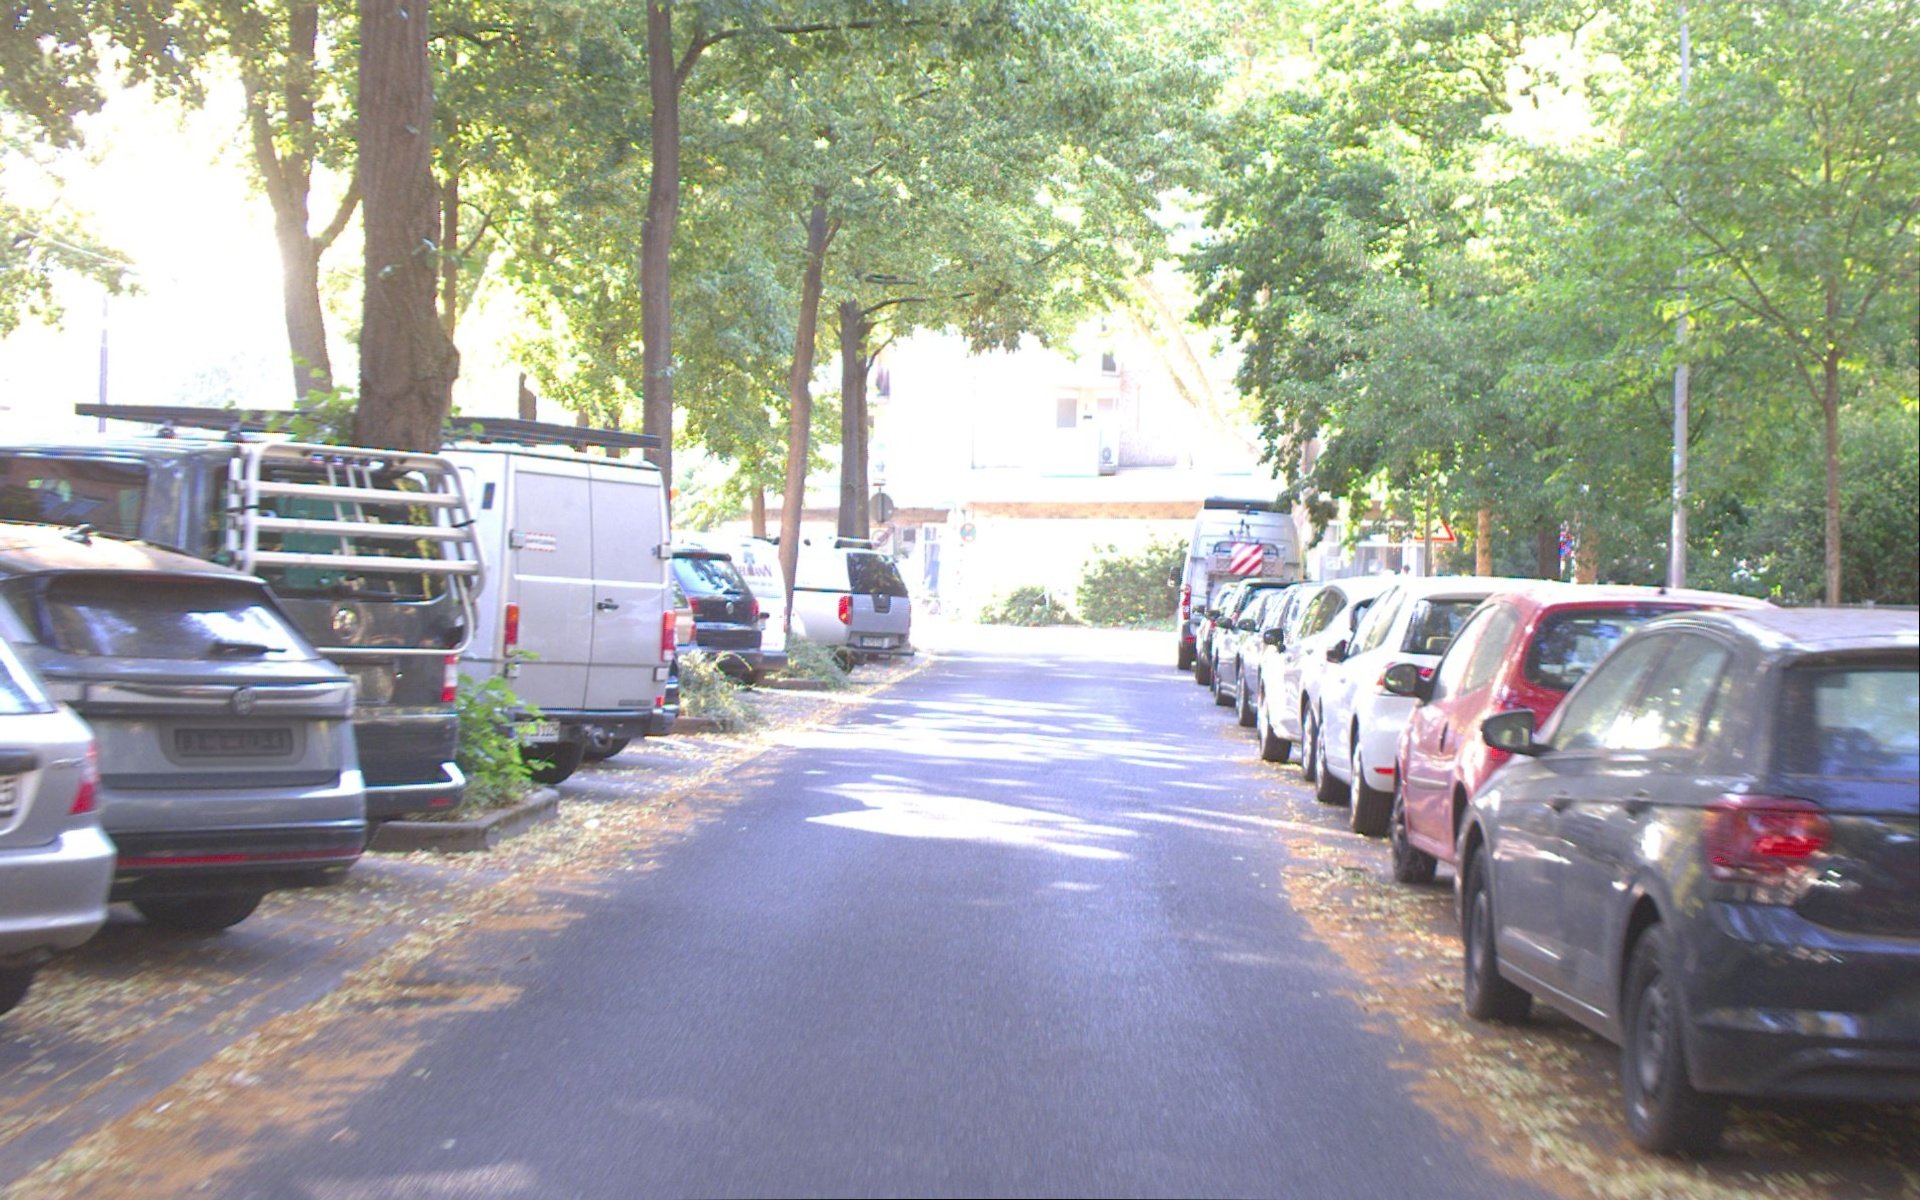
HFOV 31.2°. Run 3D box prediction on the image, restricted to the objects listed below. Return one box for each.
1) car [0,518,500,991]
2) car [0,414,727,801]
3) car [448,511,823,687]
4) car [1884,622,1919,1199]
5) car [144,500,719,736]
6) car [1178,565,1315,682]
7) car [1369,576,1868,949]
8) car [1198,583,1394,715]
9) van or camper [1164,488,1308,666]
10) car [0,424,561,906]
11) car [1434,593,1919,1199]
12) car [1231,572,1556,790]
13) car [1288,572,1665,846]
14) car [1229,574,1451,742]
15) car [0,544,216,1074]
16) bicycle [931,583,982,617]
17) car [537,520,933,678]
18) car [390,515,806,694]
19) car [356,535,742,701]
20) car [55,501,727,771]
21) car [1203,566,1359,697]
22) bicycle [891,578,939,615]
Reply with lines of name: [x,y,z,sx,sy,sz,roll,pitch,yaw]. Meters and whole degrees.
car: [-4.216,0.420,13.507,4.566,1.535,1.931,4,1,34]
car: [-4.455,-0.025,22.620,5.507,2.130,2.077,4,1,31]
car: [-3.877,-0.024,40.741,4.156,1.775,1.879,4,1,38]
car: [2.761,0.810,5.115,1.672,1.449,3.949,1,1,0]
car: [-4.440,0.131,28.667,4.513,1.611,1.850,4,1,31]
car: [3.981,0.291,48.339,1.680,1.520,4.489,1,1,2]
car: [2.851,0.641,15.572,1.591,1.449,3.555,1,1,1]
car: [3.565,0.487,37.074,1.680,1.279,4.287,1,1,0]
van or camper: [4.513,-0.397,57.053,2.084,2.753,5.845,1,1,2]
car: [-4.374,0.175,16.270,4.708,1.936,1.931,4,1,34]
car: [2.519,0.740,10.043,1.672,1.449,3.949,1,1,0]
car: [3.152,0.545,25.750,1.680,1.449,4.076,1,1,-3]
car: [3.009,0.577,20.776,1.680,1.449,4.076,1,1,1]
car: [3.507,0.489,32.390,1.680,1.419,4.659,1,1,2]
car: [-4.485,0.468,10.680,4.088,1.483,1.780,4,1,32]
bicycle: [-0.102,-0.010,94.470,0.542,0.901,1.736,1,1,-33]
car: [-3.078,-0.023,46.642,4.994,1.775,1.984,4,1,29]
car: [-3.977,0.042,37.520,4.155,1.638,1.911,4,1,33]
car: [-4.178,0.181,34.875,3.423,1.421,1.830,4,1,32]
car: [-4.211,0.237,25.367,4.511,1.611,1.932,4,1,25]
car: [3.970,0.357,43.088,1.680,1.520,4.287,1,1,2]
bicycle: [-1.267,-0.098,96.270,0.638,1.019,2.089,1,1,-21]
